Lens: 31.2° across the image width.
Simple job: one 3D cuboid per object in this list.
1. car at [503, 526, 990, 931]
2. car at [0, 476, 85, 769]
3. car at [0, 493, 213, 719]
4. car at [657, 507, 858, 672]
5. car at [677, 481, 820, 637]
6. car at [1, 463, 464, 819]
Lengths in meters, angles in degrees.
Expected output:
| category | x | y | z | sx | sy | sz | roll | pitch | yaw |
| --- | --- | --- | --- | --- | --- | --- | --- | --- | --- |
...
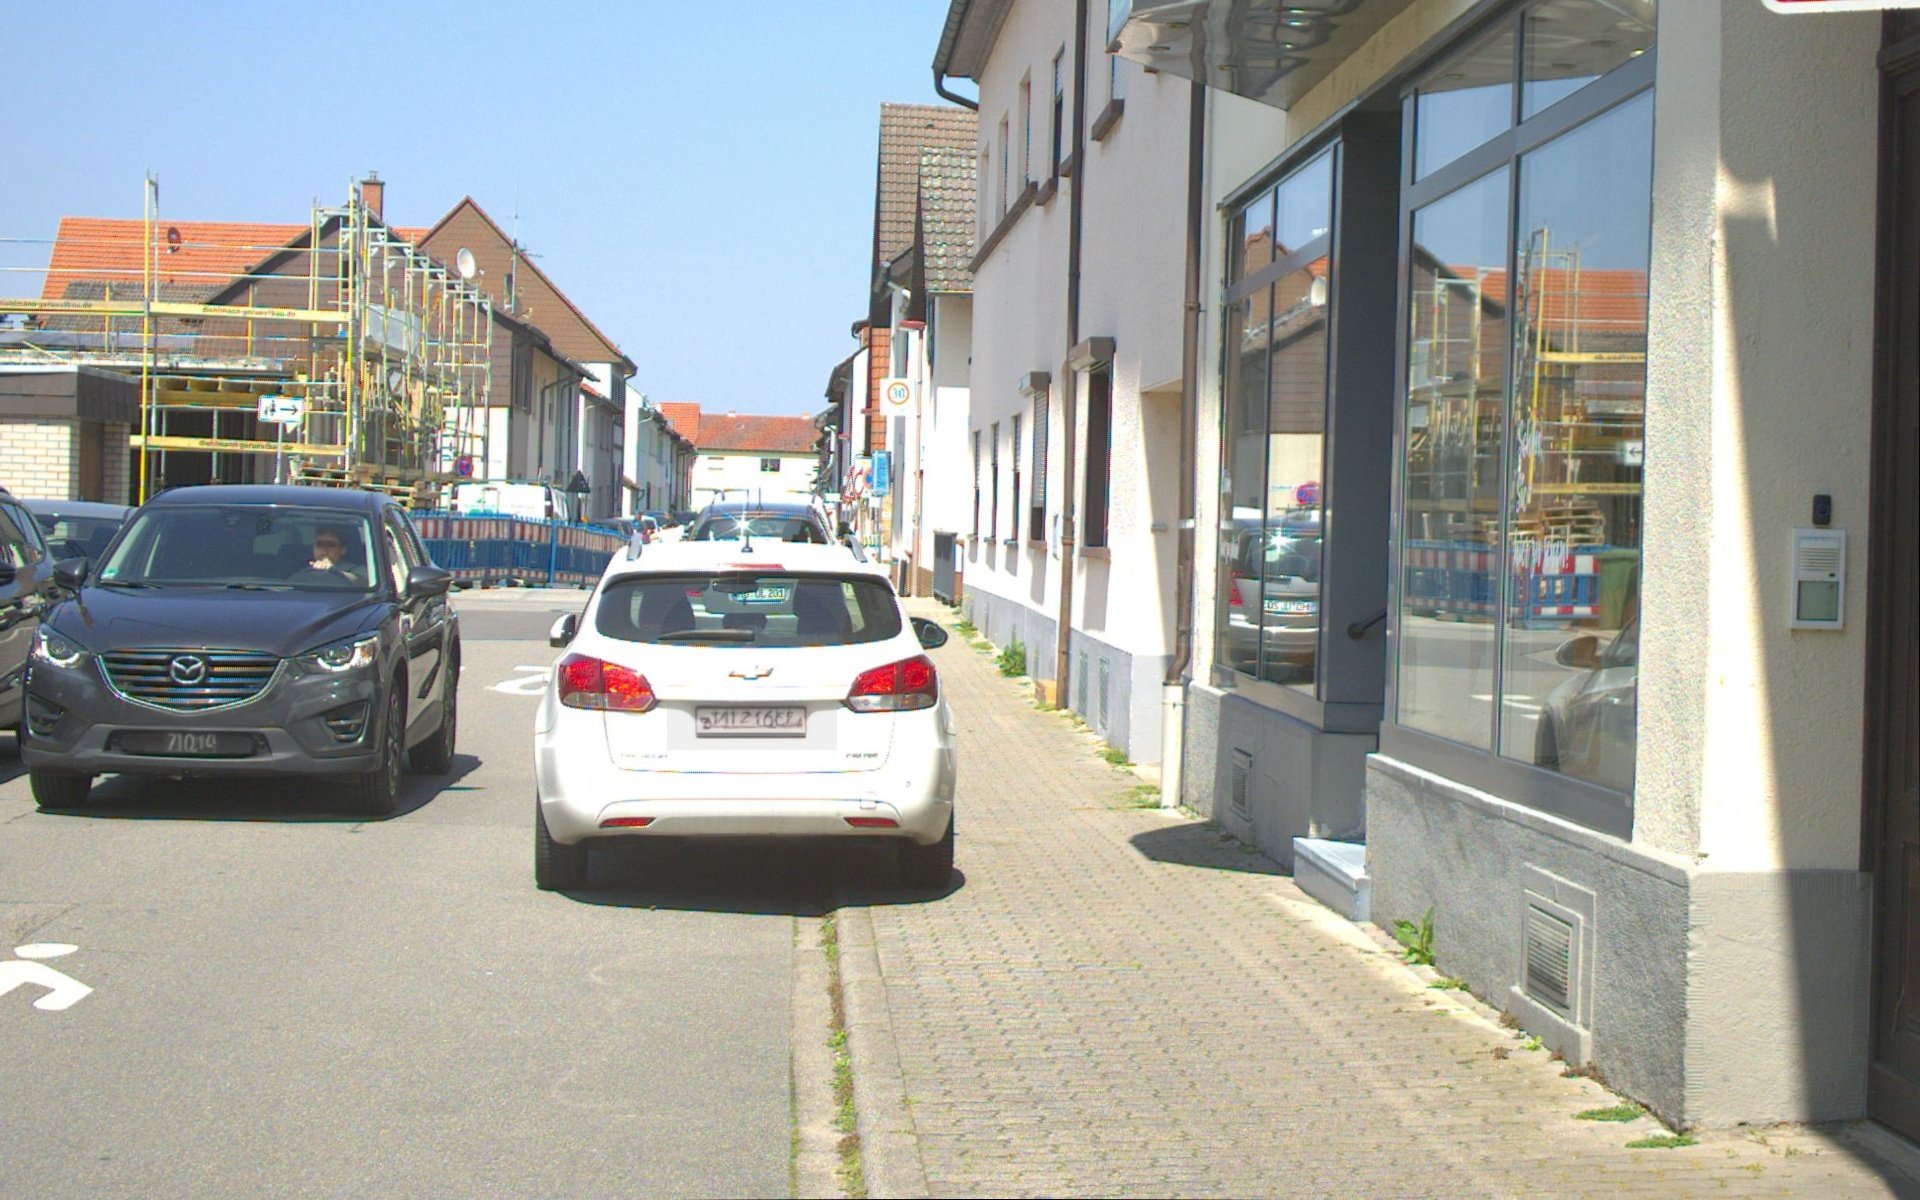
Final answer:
| category | x | y | z | sx | sy | sz | roll | pitch | yaw |
| --- | --- | --- | --- | --- | --- | --- | --- | --- | --- |
| car | -1.045 | 0.474 | 15.798 | 1.886 | 1.536 | 4.244 | 2 | 1 | -5 |
| car | -6.225 | 0.093 | 19.172 | 1.826 | 1.625 | 4.218 | 2 | 1 | -4 |
| car | -6.369 | -0.002 | 24.599 | 1.436 | 1.469 | 3.787 | 2 | 1 | -4 |
| car | -2.144 | -0.158 | 35.522 | 1.884 | 1.550 | 3.895 | -2 | 2 | -6 |
| car | -2.493 | -0.521 | 40.686 | 1.564 | 1.607 | 3.543 | 2 | 3 | -3 |
| car | -3.817 | 0.151 | 18.717 | 1.881 | 1.662 | 4.154 | 2 | 1 | -4 |
